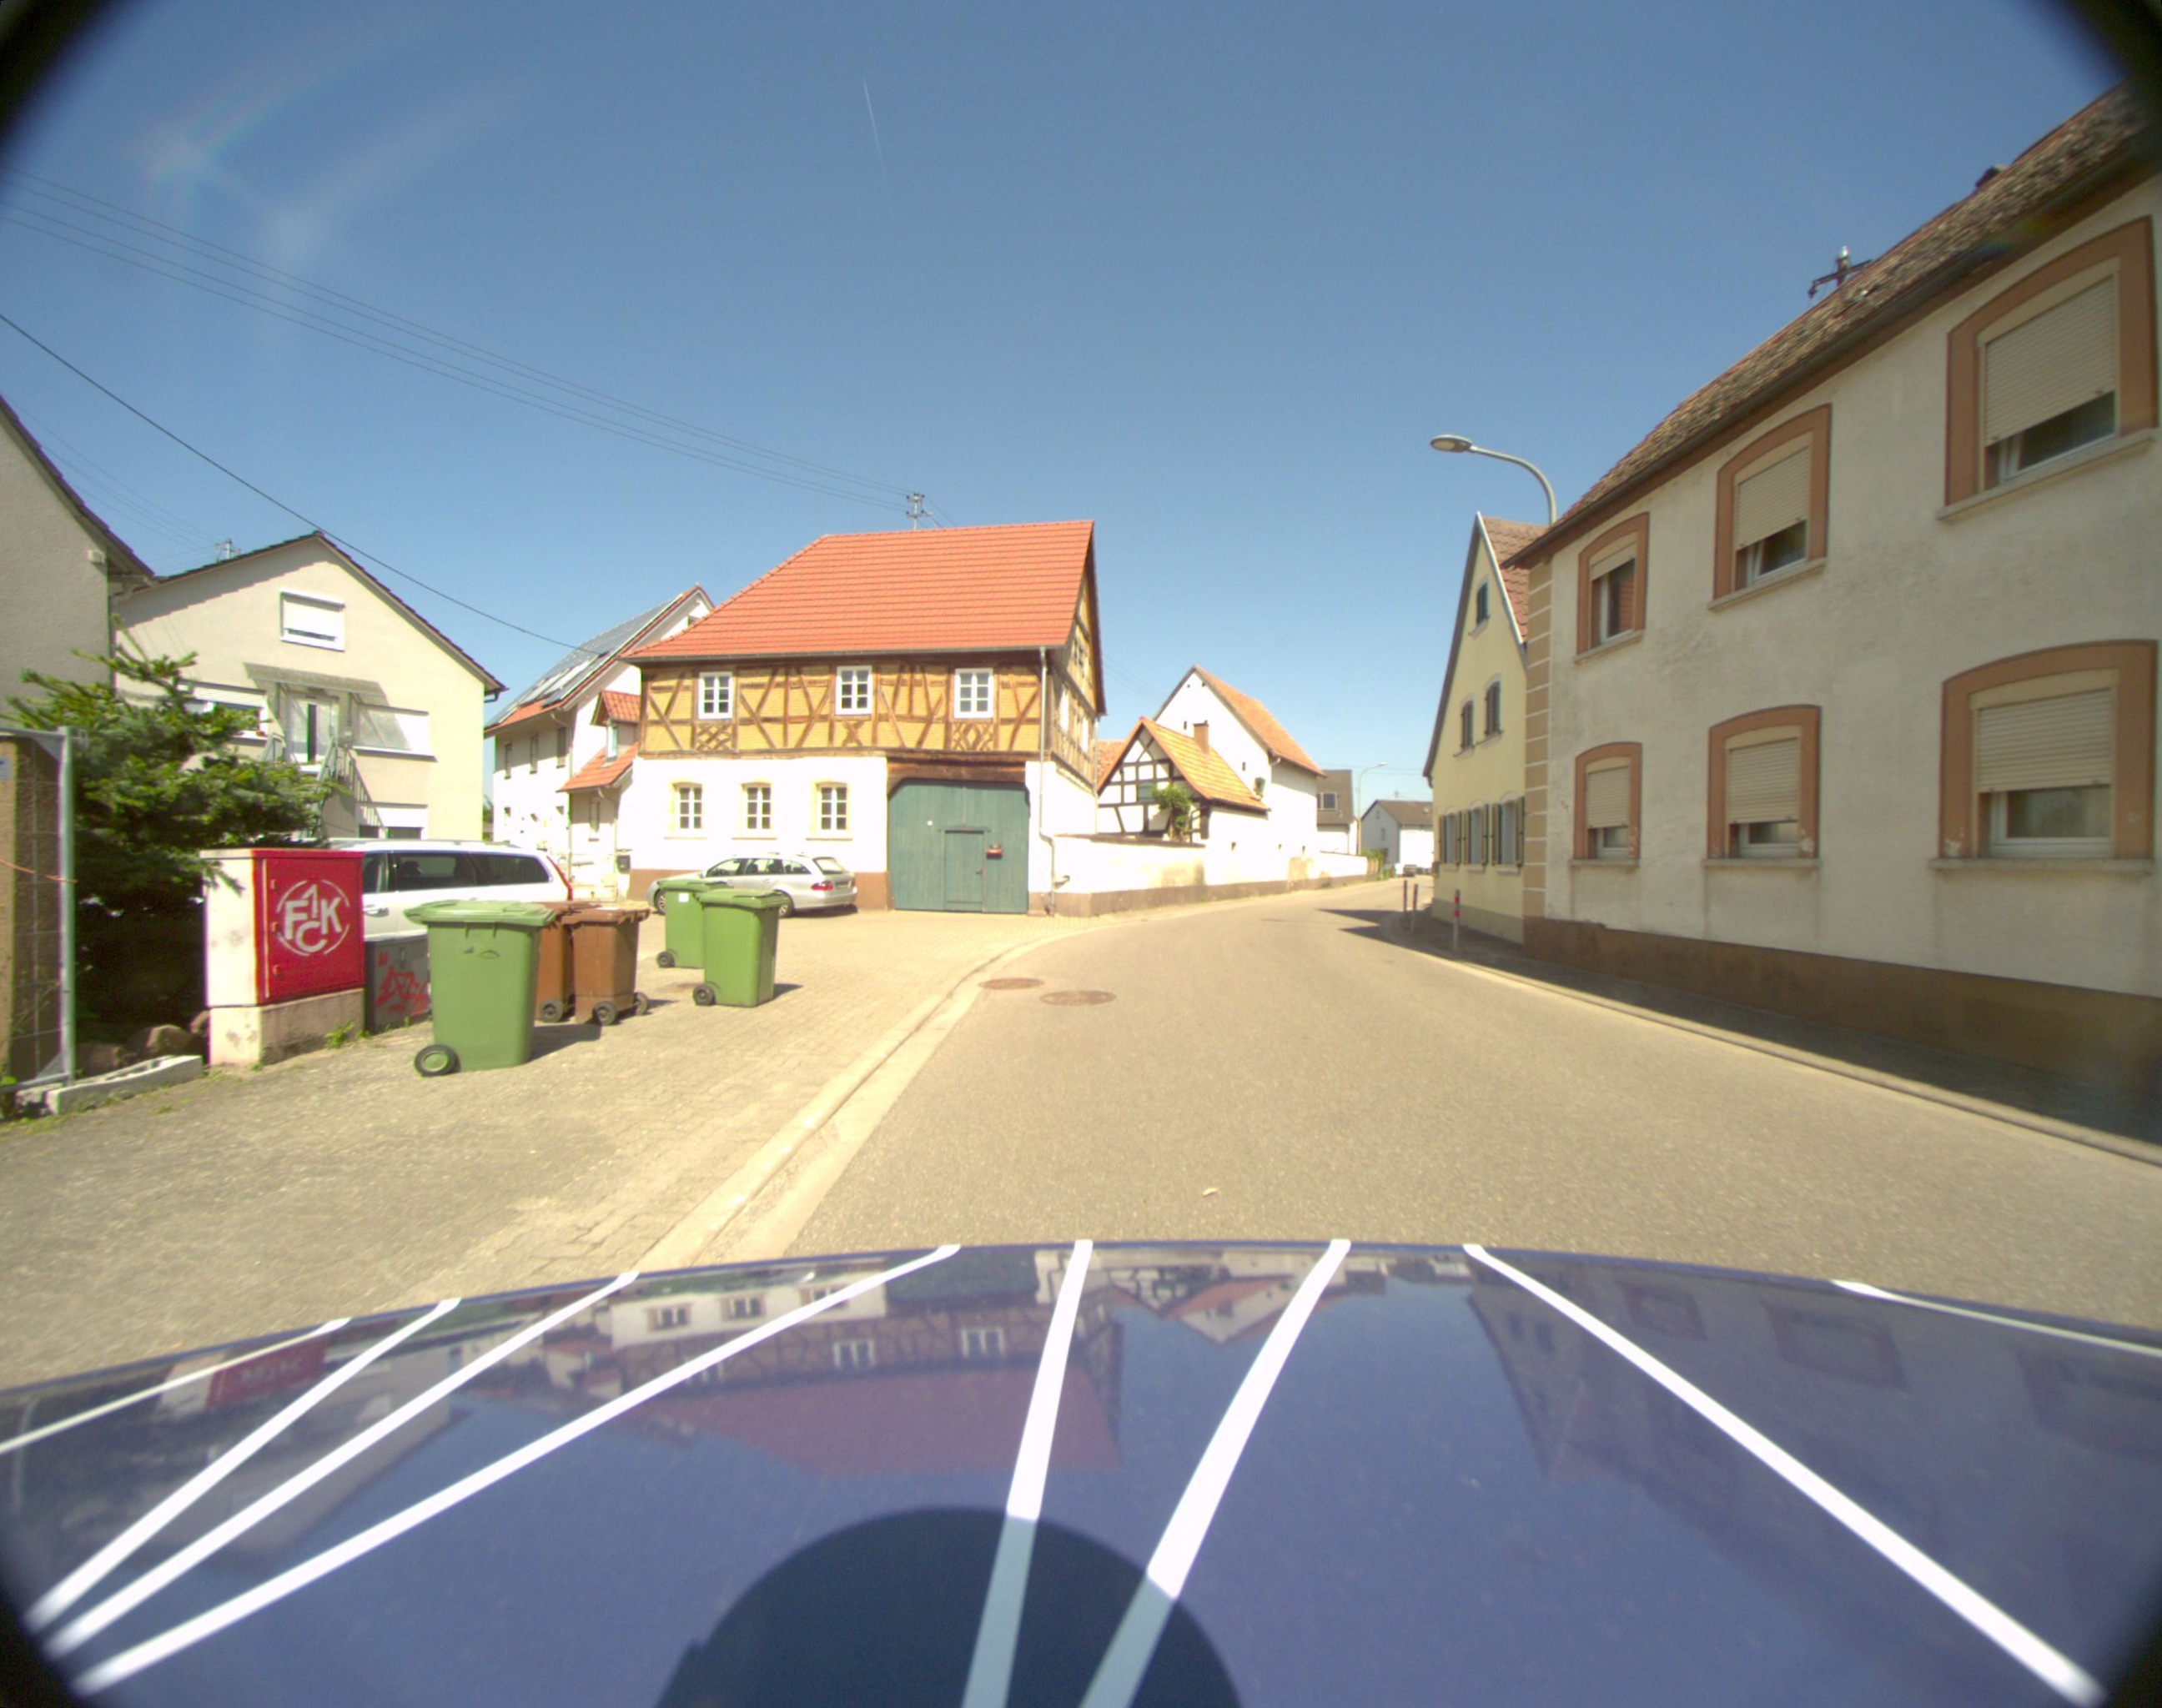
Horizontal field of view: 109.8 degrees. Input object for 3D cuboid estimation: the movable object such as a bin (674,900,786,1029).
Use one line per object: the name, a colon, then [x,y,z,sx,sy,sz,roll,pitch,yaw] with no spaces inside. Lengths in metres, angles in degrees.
movable object such as a bin: [-3.253,1.002,7.088,0.688,1.085,0.638,2,0,7]

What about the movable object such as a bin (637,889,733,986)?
movable object such as a bin: [-4.777,0.989,9.205,0.721,1.075,0.755,2,0,3]

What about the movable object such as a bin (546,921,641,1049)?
movable object such as a bin: [-3.967,1.047,6.202,0.445,0.944,0.462,2,1,7]

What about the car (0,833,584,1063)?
car: [-7.510,0.649,7.425,1.813,1.519,4.302,2,0,14]

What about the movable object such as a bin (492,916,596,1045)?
movable object such as a bin: [-4.406,1.017,6.252,0.466,0.965,0.496,2,0,6]

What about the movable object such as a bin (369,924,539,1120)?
movable object such as a bin: [-4.007,1.026,4.923,0.763,1.066,0.670,2,0,-34]

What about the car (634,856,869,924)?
car: [-7.678,0.786,17.915,4.760,1.443,2.002,0,0,10]

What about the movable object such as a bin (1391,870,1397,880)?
movable object such as a bin: [30.388,2.036,73.709,0.504,0.971,0.496,1,1,29]

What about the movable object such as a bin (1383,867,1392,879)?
movable object such as a bin: [25.486,1.573,63.181,0.551,0.971,0.433,2,0,4]

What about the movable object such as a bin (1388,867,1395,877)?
movable object such as a bin: [29.792,1.711,72.877,0.504,0.971,0.433,1,1,29]
